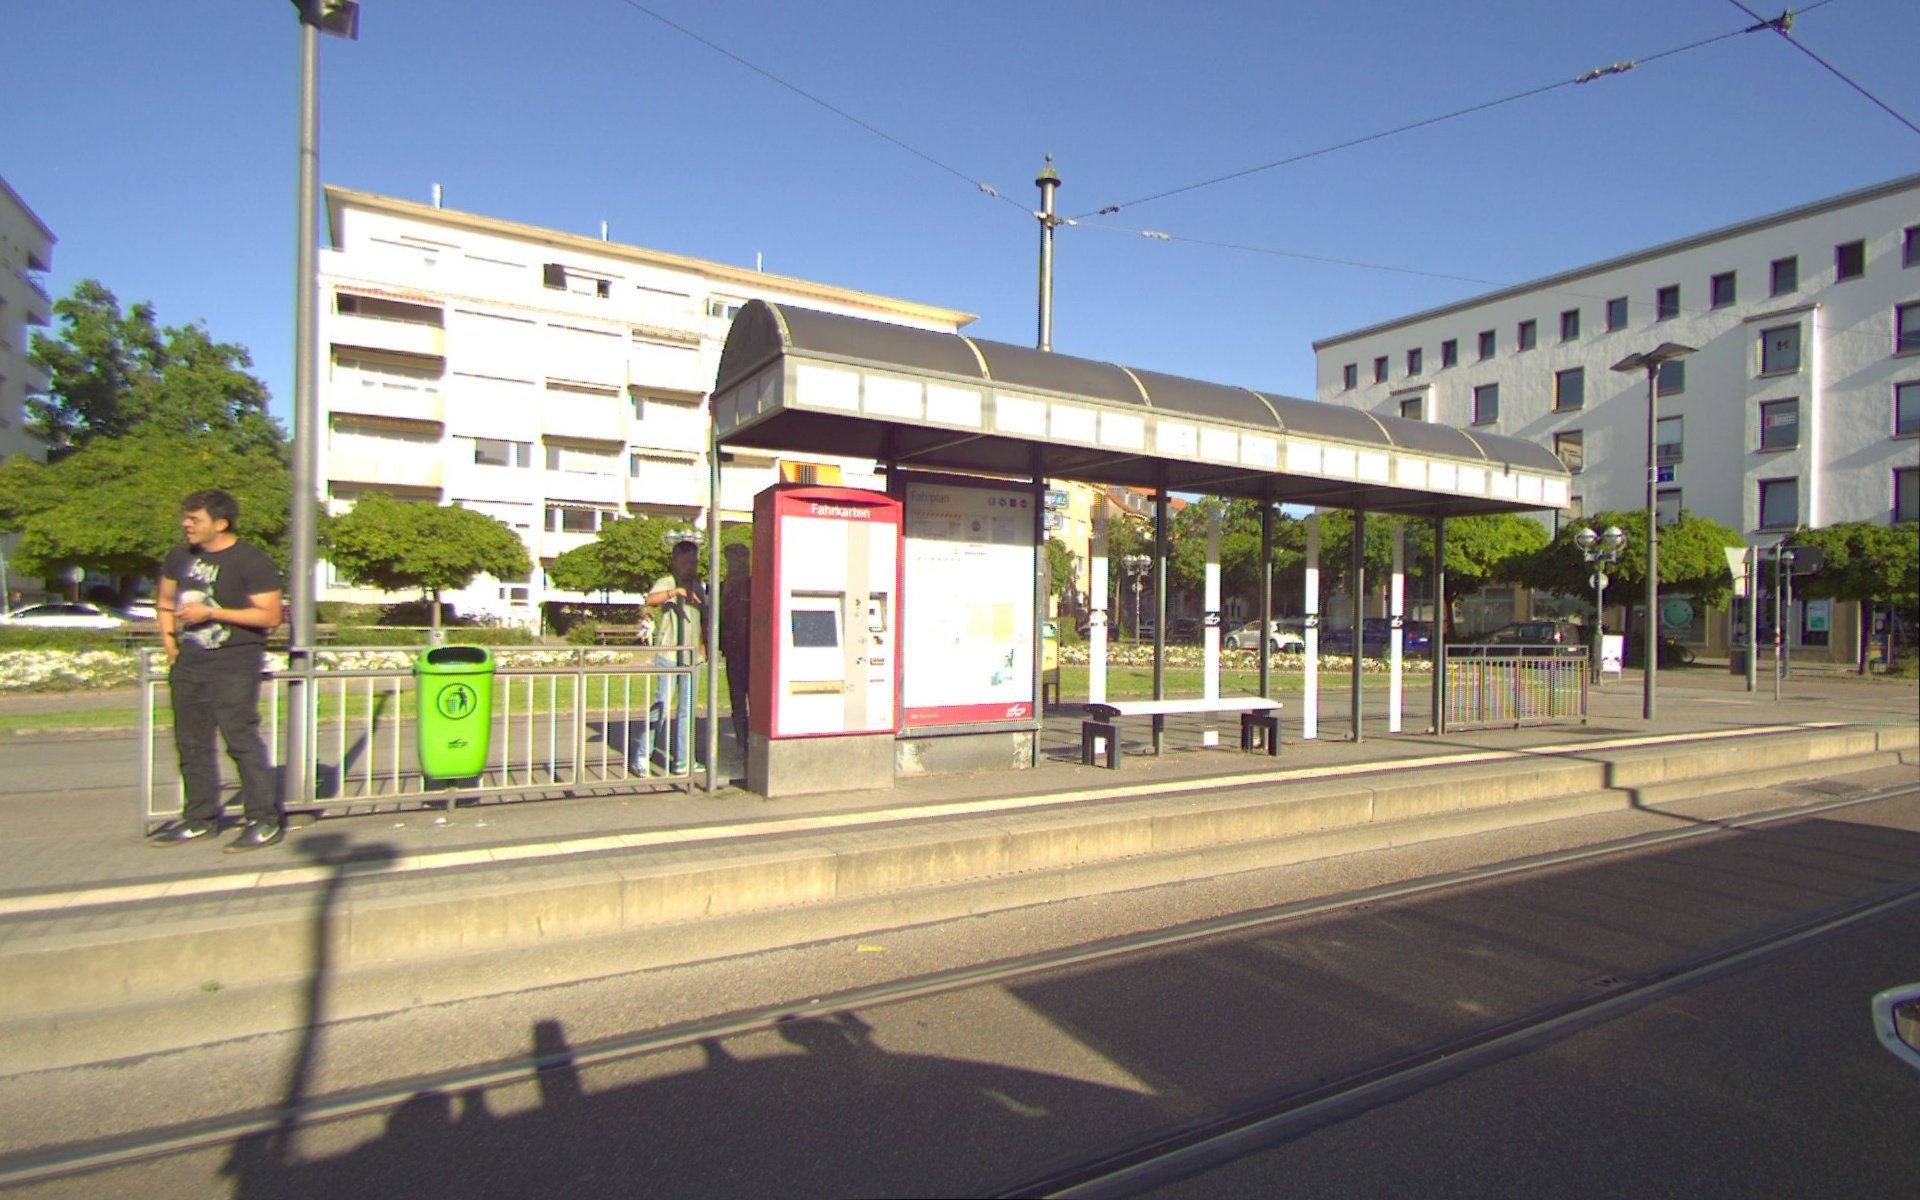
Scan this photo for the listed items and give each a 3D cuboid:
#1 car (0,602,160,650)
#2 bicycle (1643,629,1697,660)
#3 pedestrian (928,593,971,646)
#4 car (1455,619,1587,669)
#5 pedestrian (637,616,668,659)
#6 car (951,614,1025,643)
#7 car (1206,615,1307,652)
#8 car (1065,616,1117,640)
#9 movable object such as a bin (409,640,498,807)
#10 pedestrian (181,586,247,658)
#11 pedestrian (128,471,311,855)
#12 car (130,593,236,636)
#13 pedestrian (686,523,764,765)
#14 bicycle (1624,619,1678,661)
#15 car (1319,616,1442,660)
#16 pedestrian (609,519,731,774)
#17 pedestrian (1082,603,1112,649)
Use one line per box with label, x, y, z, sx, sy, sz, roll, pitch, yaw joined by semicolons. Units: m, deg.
car;-25.646;0.748;29.029;3.672;1.318;1.984;1;-1;-30
bicycle;28.188;1.762;39.848;2.586;1.206;0.615;1;-1;-27
pedestrian;-0.428;0.782;39.460;1.219;2.040;1.214;1;-1;-30
car;21.045;1.603;37.829;1.804;1.728;3.968;1;-1;-30
pedestrian;-10.171;1.230;33.185;0.673;1.378;1.042;1;-1;-34
car;1.389;1.402;49.634;3.271;1.372;1.638;1;-1;-29
car;14.089;1.577;47.915;1.835;1.628;4.581;1;-1;-31
car;8.806;1.882;67.391;1.887;1.514;4.343;2;0;31
movable object such as a bin;-2.794;0.665;5.551;0.411;0.871;0.335;1;-1;-27
pedestrian;-19.284;0.557;25.989;1.161;1.811;1.074;1;0;-27
pedestrian;-3.602;0.297;4.937;0.599;1.740;0.546;1;-3;-28
car;-28.573;0.551;37.034;2.899;1.506;1.407;1;-1;-30
pedestrian;-1.908;0.354;8.139;0.519;1.883;0.426;1;-3;-27
bicycle;27.863;1.608;40.493;2.585;1.628;0.616;1;-1;-26
car;17.843;1.584;42.818;1.978;1.684;4.581;1;-1;-31
pedestrian;-2.172;0.344;7.518;0.760;1.797;0.613;1;-3;-28
pedestrian;5.499;1.035;40.408;0.856;1.841;0.944;1;0;-19
